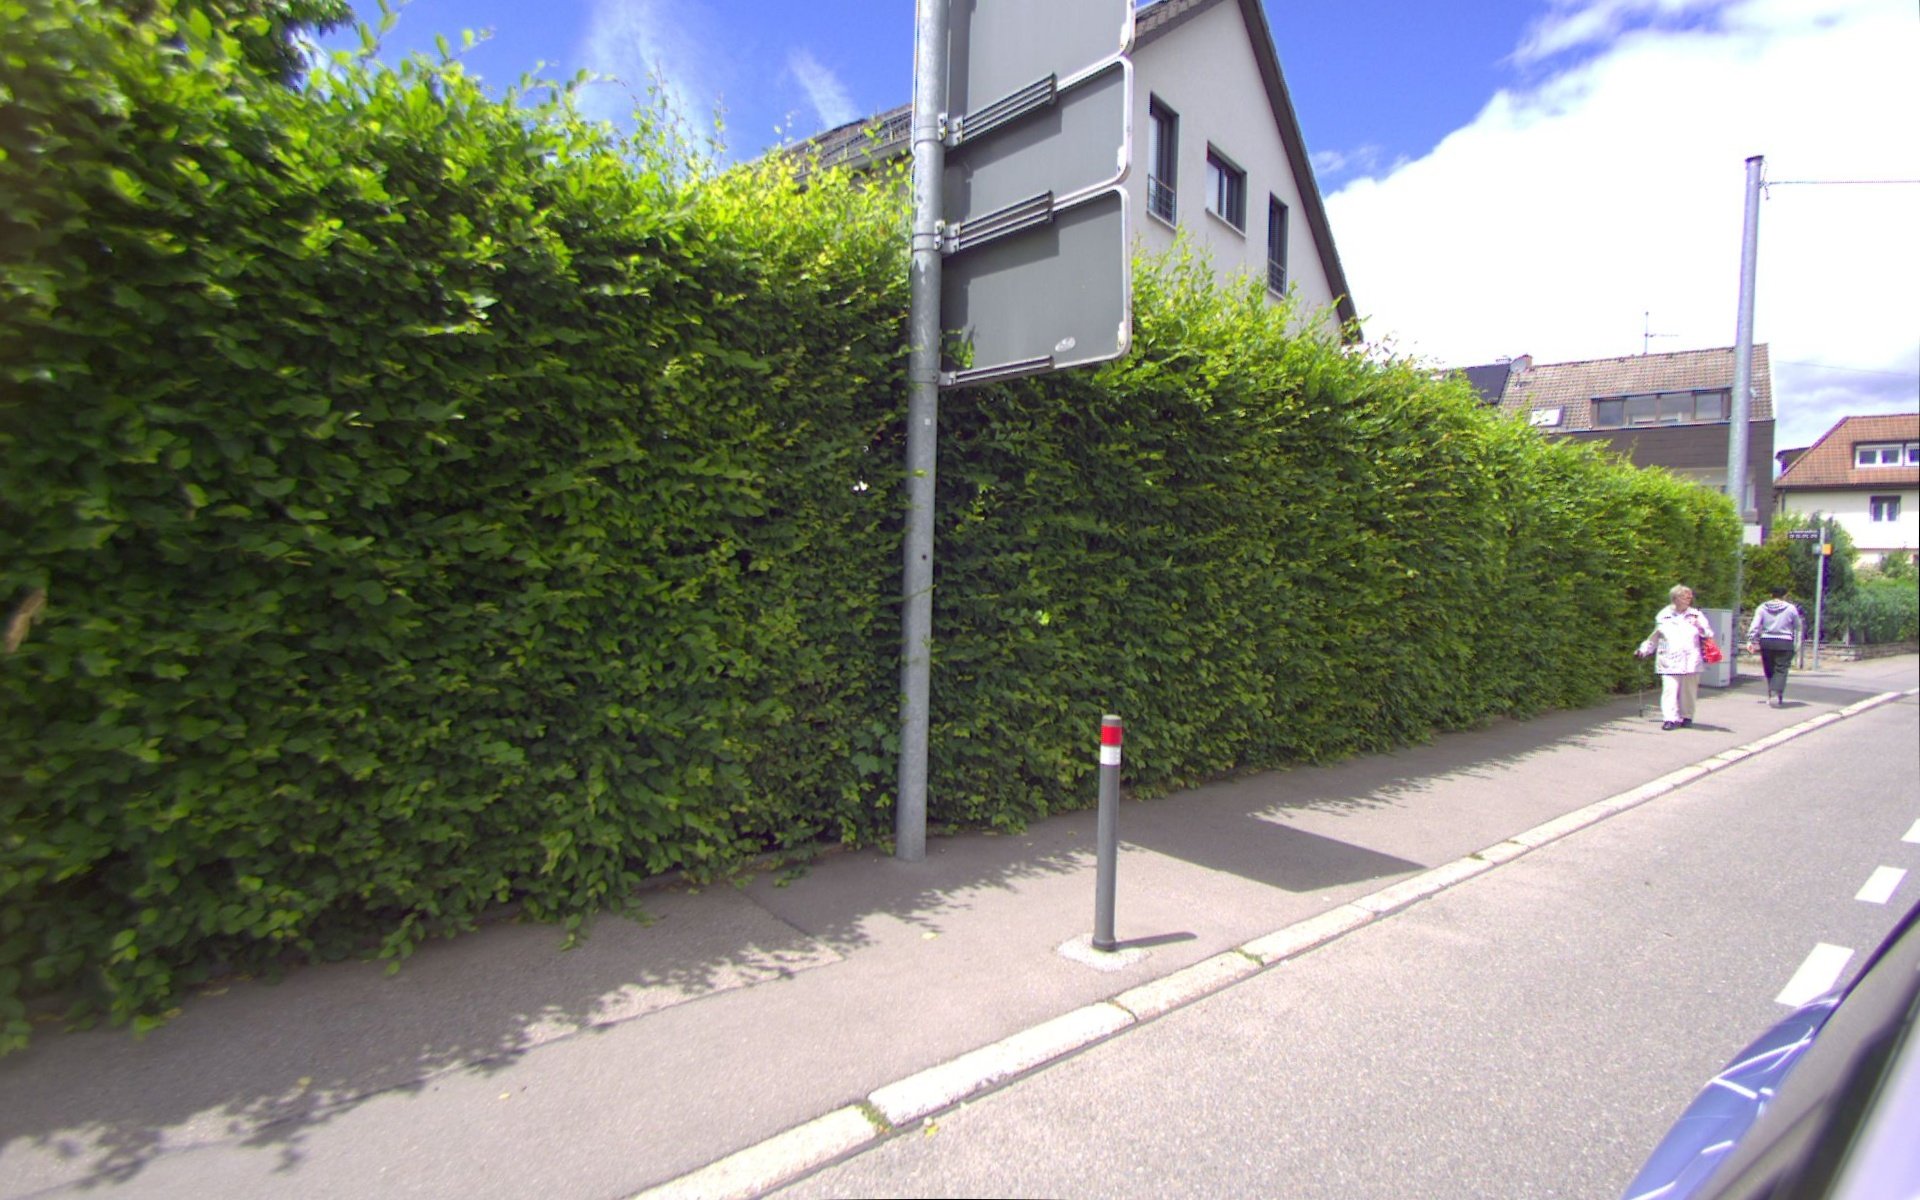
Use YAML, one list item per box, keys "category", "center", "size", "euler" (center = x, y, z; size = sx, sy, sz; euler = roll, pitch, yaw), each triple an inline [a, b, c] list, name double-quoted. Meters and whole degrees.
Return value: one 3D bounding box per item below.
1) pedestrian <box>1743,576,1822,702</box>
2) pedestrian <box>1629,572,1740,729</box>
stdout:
- category: "pedestrian"
  center: [11.158, 0.502, 13.735]
  size: [0.821, 1.625, 0.604]
  euler: [0, 3, -40]
- category: "pedestrian"
  center: [8.008, 0.526, 11.194]
  size: [0.641, 1.637, 0.801]
  euler: [0, 2, -39]
